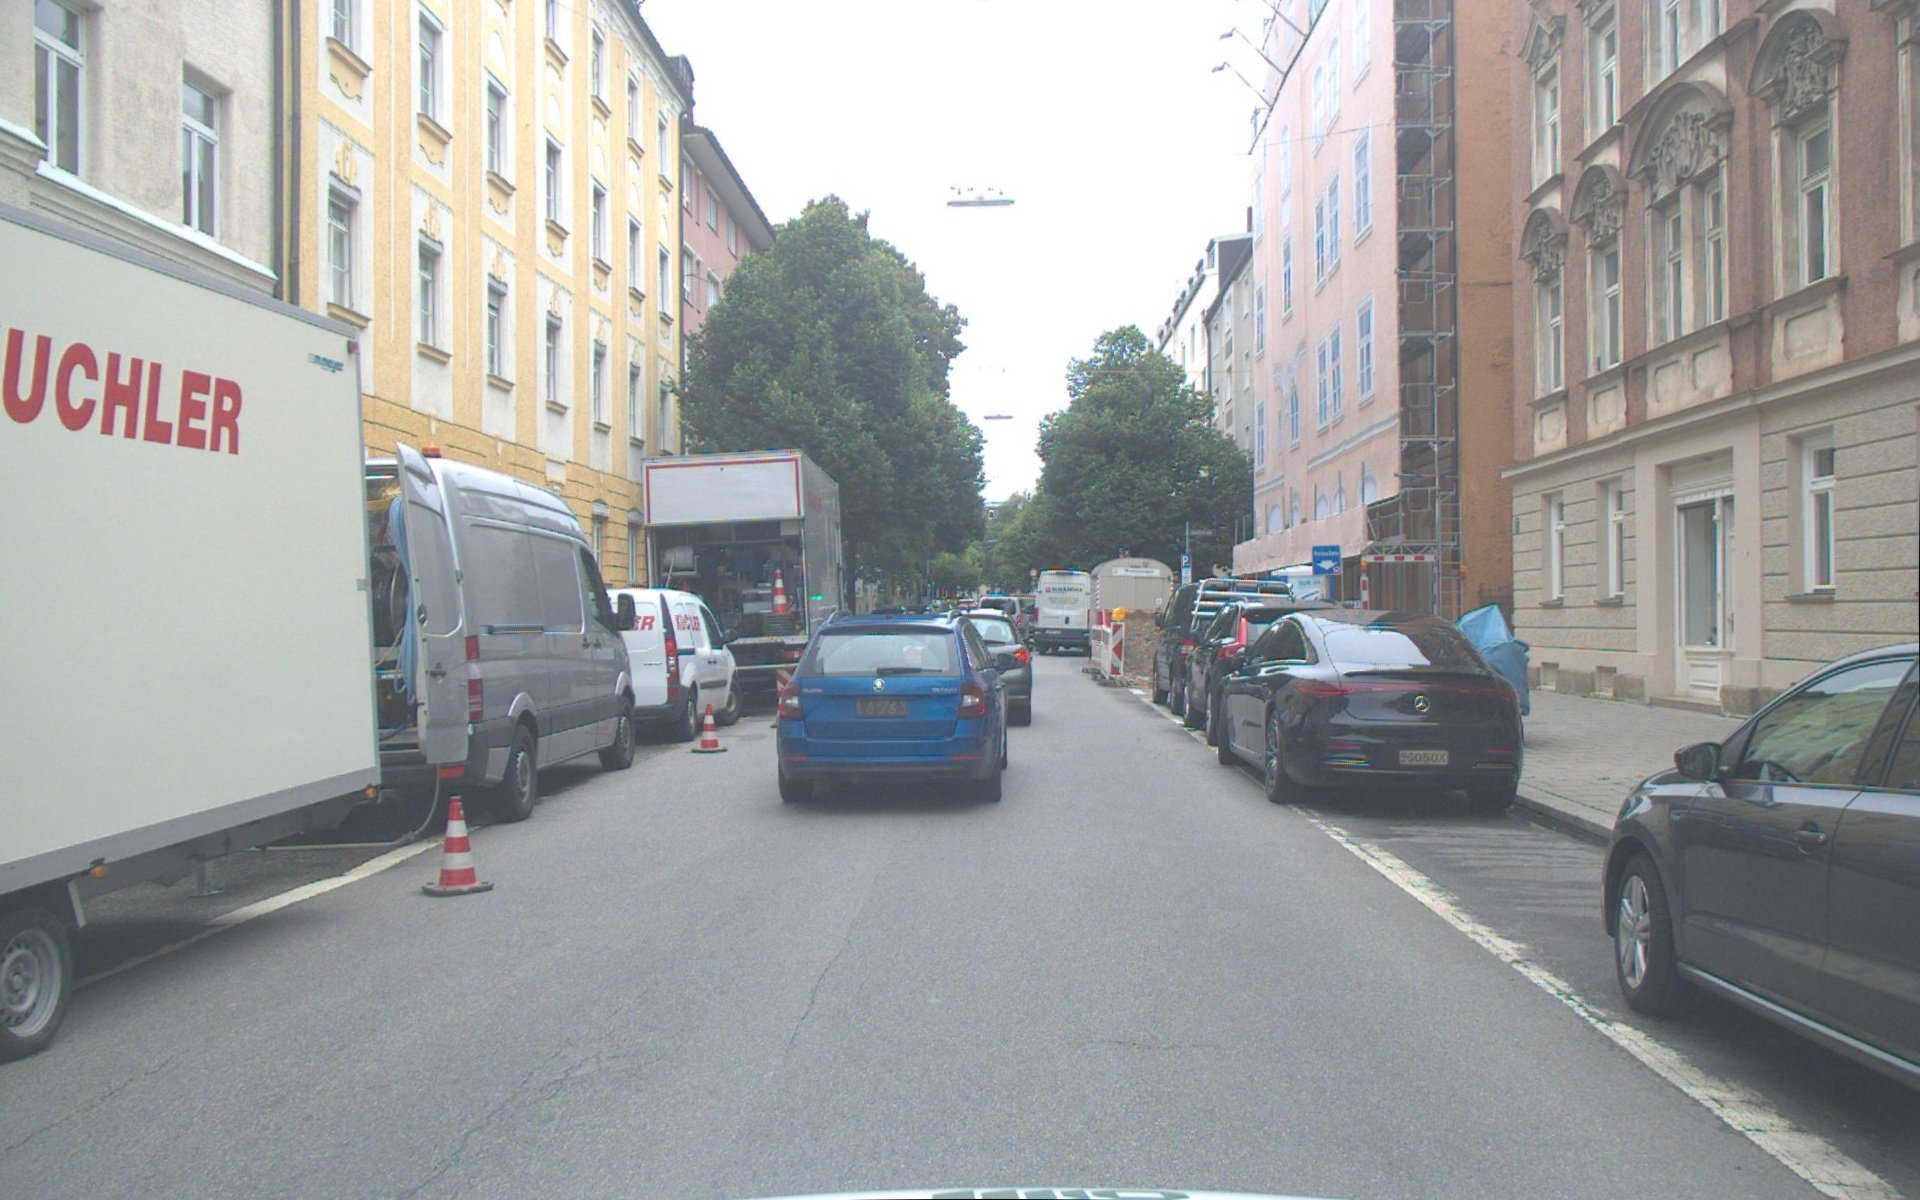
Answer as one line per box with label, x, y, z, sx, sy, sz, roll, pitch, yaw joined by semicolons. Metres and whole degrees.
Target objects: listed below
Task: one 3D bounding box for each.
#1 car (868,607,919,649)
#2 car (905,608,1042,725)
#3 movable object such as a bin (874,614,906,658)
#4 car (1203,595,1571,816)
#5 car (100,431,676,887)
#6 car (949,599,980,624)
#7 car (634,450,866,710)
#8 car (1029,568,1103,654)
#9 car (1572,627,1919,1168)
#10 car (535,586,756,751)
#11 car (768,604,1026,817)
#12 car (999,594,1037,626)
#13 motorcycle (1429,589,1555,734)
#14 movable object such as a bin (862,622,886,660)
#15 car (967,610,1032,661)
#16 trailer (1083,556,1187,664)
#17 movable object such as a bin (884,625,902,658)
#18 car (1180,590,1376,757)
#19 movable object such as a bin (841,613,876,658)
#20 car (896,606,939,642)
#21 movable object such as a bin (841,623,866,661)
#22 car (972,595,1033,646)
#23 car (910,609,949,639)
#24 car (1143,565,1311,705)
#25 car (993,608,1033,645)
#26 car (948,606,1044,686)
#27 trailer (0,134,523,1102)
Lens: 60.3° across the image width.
car;-2.463;1.013;62.119;1.775;1.504;4.000;0;0;0
car;0.257;0.851;22.462;1.705;1.446;3.665;-1;-1;3
movable object such as a bin;-2.332;1.191;55.390;1.000;1.400;1.103;-2;0;-2
car;3.477;0.768;14.674;1.891;1.580;5.637;0;0;1
car;-4.102;0.376;13.572;2.014;2.632;6.877;-5;0;1
car;0.356;0.782;113.917;1.966;1.682;4.348;1;0;2
car;-3.424;-0.257;29.338;2.754;3.884;8.724;-1;-1;1
car;3.591;0.390;55.362;2.067;2.710;5.504;1;-1;7
car;3.337;0.806;4.888;1.540;1.419;4.183;-1;-1;1
car;-3.855;0.802;20.987;1.726;1.810;4.328;-2;-1;3
car;-0.367;0.802;13.838;1.752;1.486;4.316;-1;-1;3
car;3.153;0.507;89.897;1.966;1.682;4.348;1;0;2
motorcycle;5.883;0.656;18.411;0.853;1.531;1.998;0;-1;4
movable object such as a bin;-2.780;1.321;53.384;0.697;1.168;0.636;-2;0;-2
car;1.163;1.005;48.940;1.829;1.372;4.348;1;0;1
trailer;4.992;0.310;48.232;2.450;2.890;6.902;1;-1;2
movable object such as a bin;-2.172;1.337;53.431;0.535;1.038;0.636;-2;0;-2
car;3.701;0.816;19.937;1.658;1.706;4.409;3;-1;3
movable object such as a bin;-3.330;1.144;54.230;1.060;1.400;1.083;-2;0;-2
car;-1.847;1.039;72.842;1.775;1.504;4.000;0;0;0
movable object such as a bin;-3.434;1.349;53.343;0.706;1.158;0.658;-2;0;-2
car;1.705;0.784;64.924;1.827;1.902;4.351;1;0;8
car;-1.535;1.205;84.881;1.774;1.504;4.001;0;0;2
car;4.083;0.618;26.071;2.039;1.955;5.141;1;-3;3
car;2.554;1.251;79.712;1.829;1.682;4.348;1;0;2
car;0.732;0.897;34.163;1.829;1.479;4.347;1;0;1
trailer;-4.305;0.099;6.075;2.745;3.020;7.603;-4;0;4
